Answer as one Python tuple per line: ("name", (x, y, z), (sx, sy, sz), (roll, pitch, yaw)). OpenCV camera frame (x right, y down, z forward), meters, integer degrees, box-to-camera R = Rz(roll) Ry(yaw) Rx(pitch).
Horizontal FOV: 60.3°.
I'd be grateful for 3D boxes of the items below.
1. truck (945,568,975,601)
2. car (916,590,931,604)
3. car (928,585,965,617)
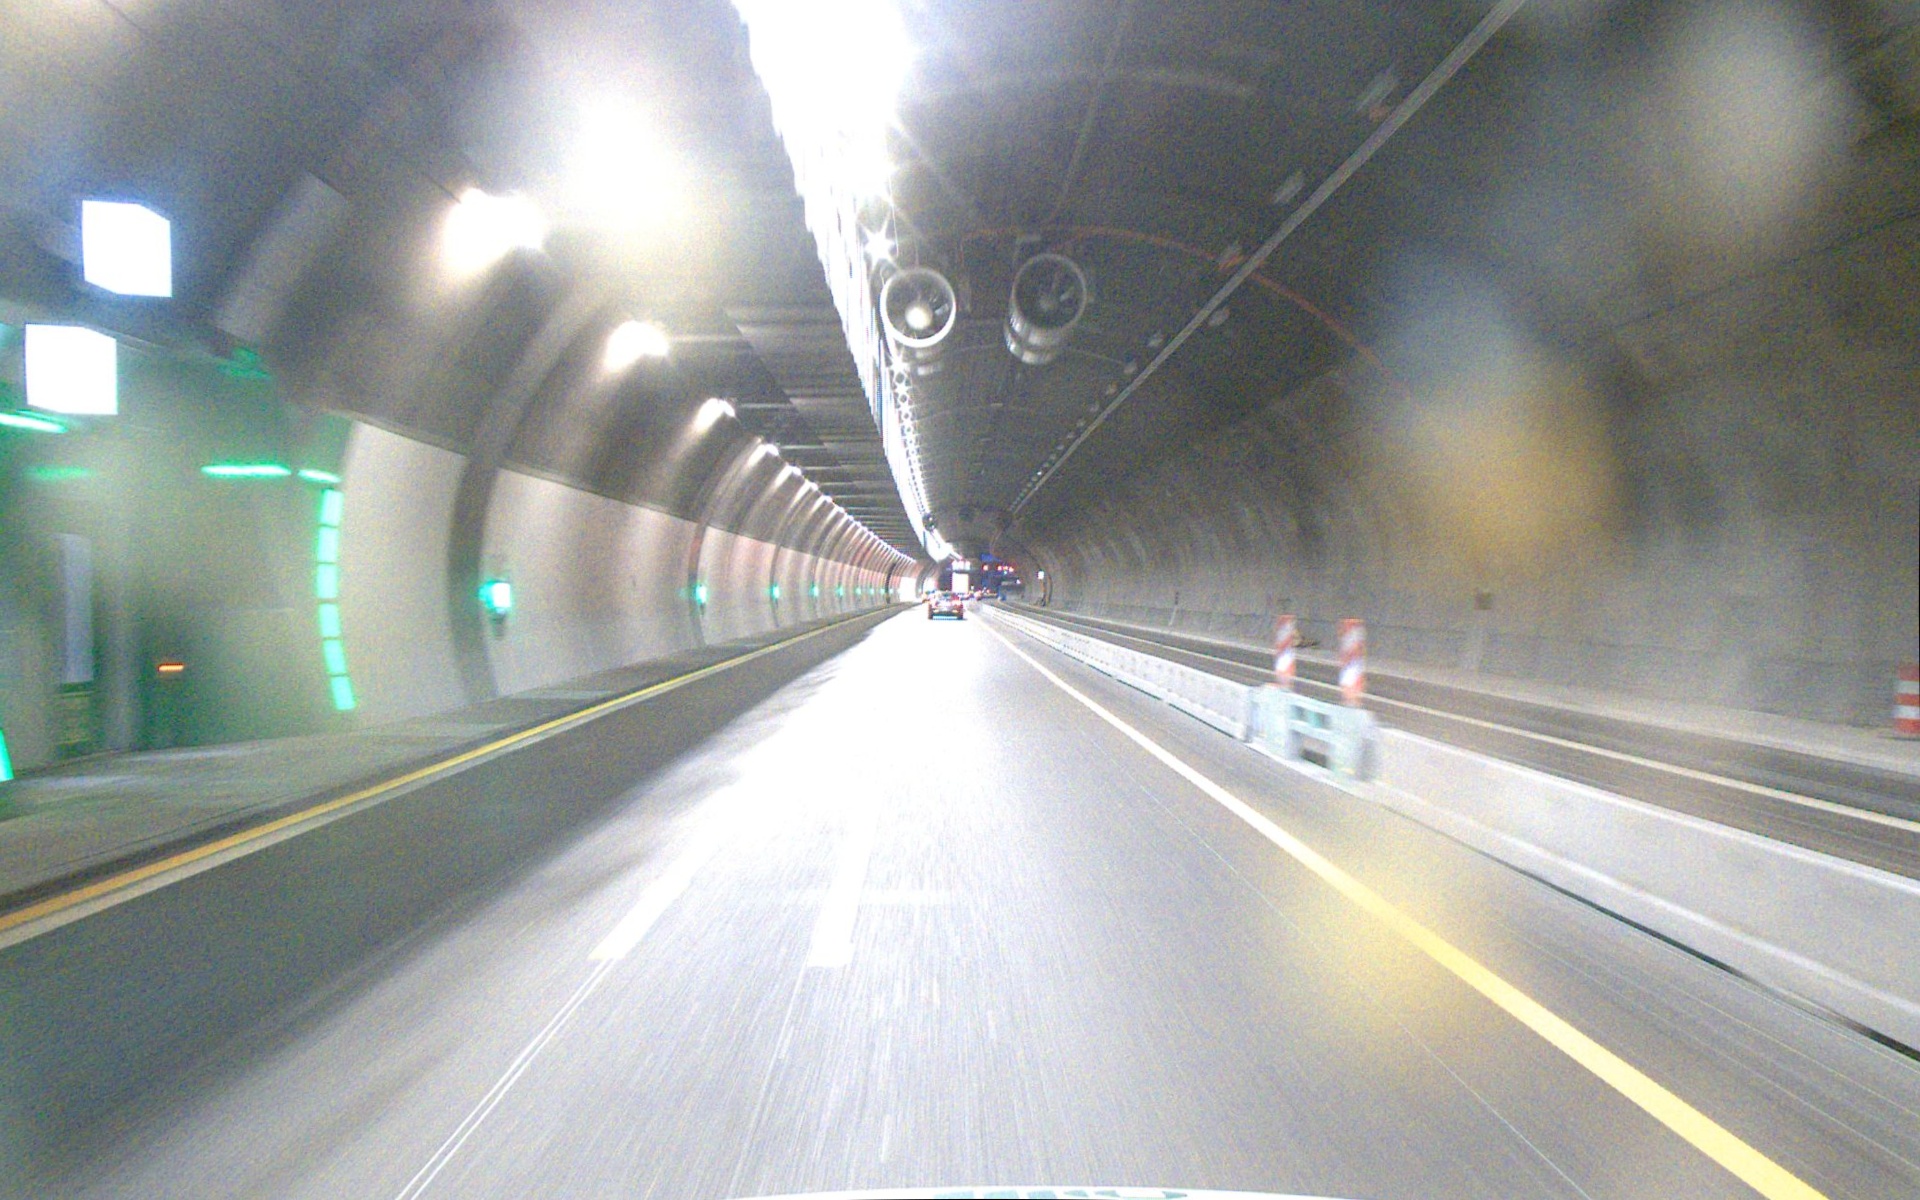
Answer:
("truck", (0.040, -2.384, 262.131), (4.452, 5.074, 9.600), (1, 0, 1))
("car", (-4.439, -0.400, 203.414), (1.790, 1.635, 3.999), (1, 0, -1))
("car", (-0.742, 0.057, 86.833), (1.849, 1.635, 3.999), (1, 0, -1))
